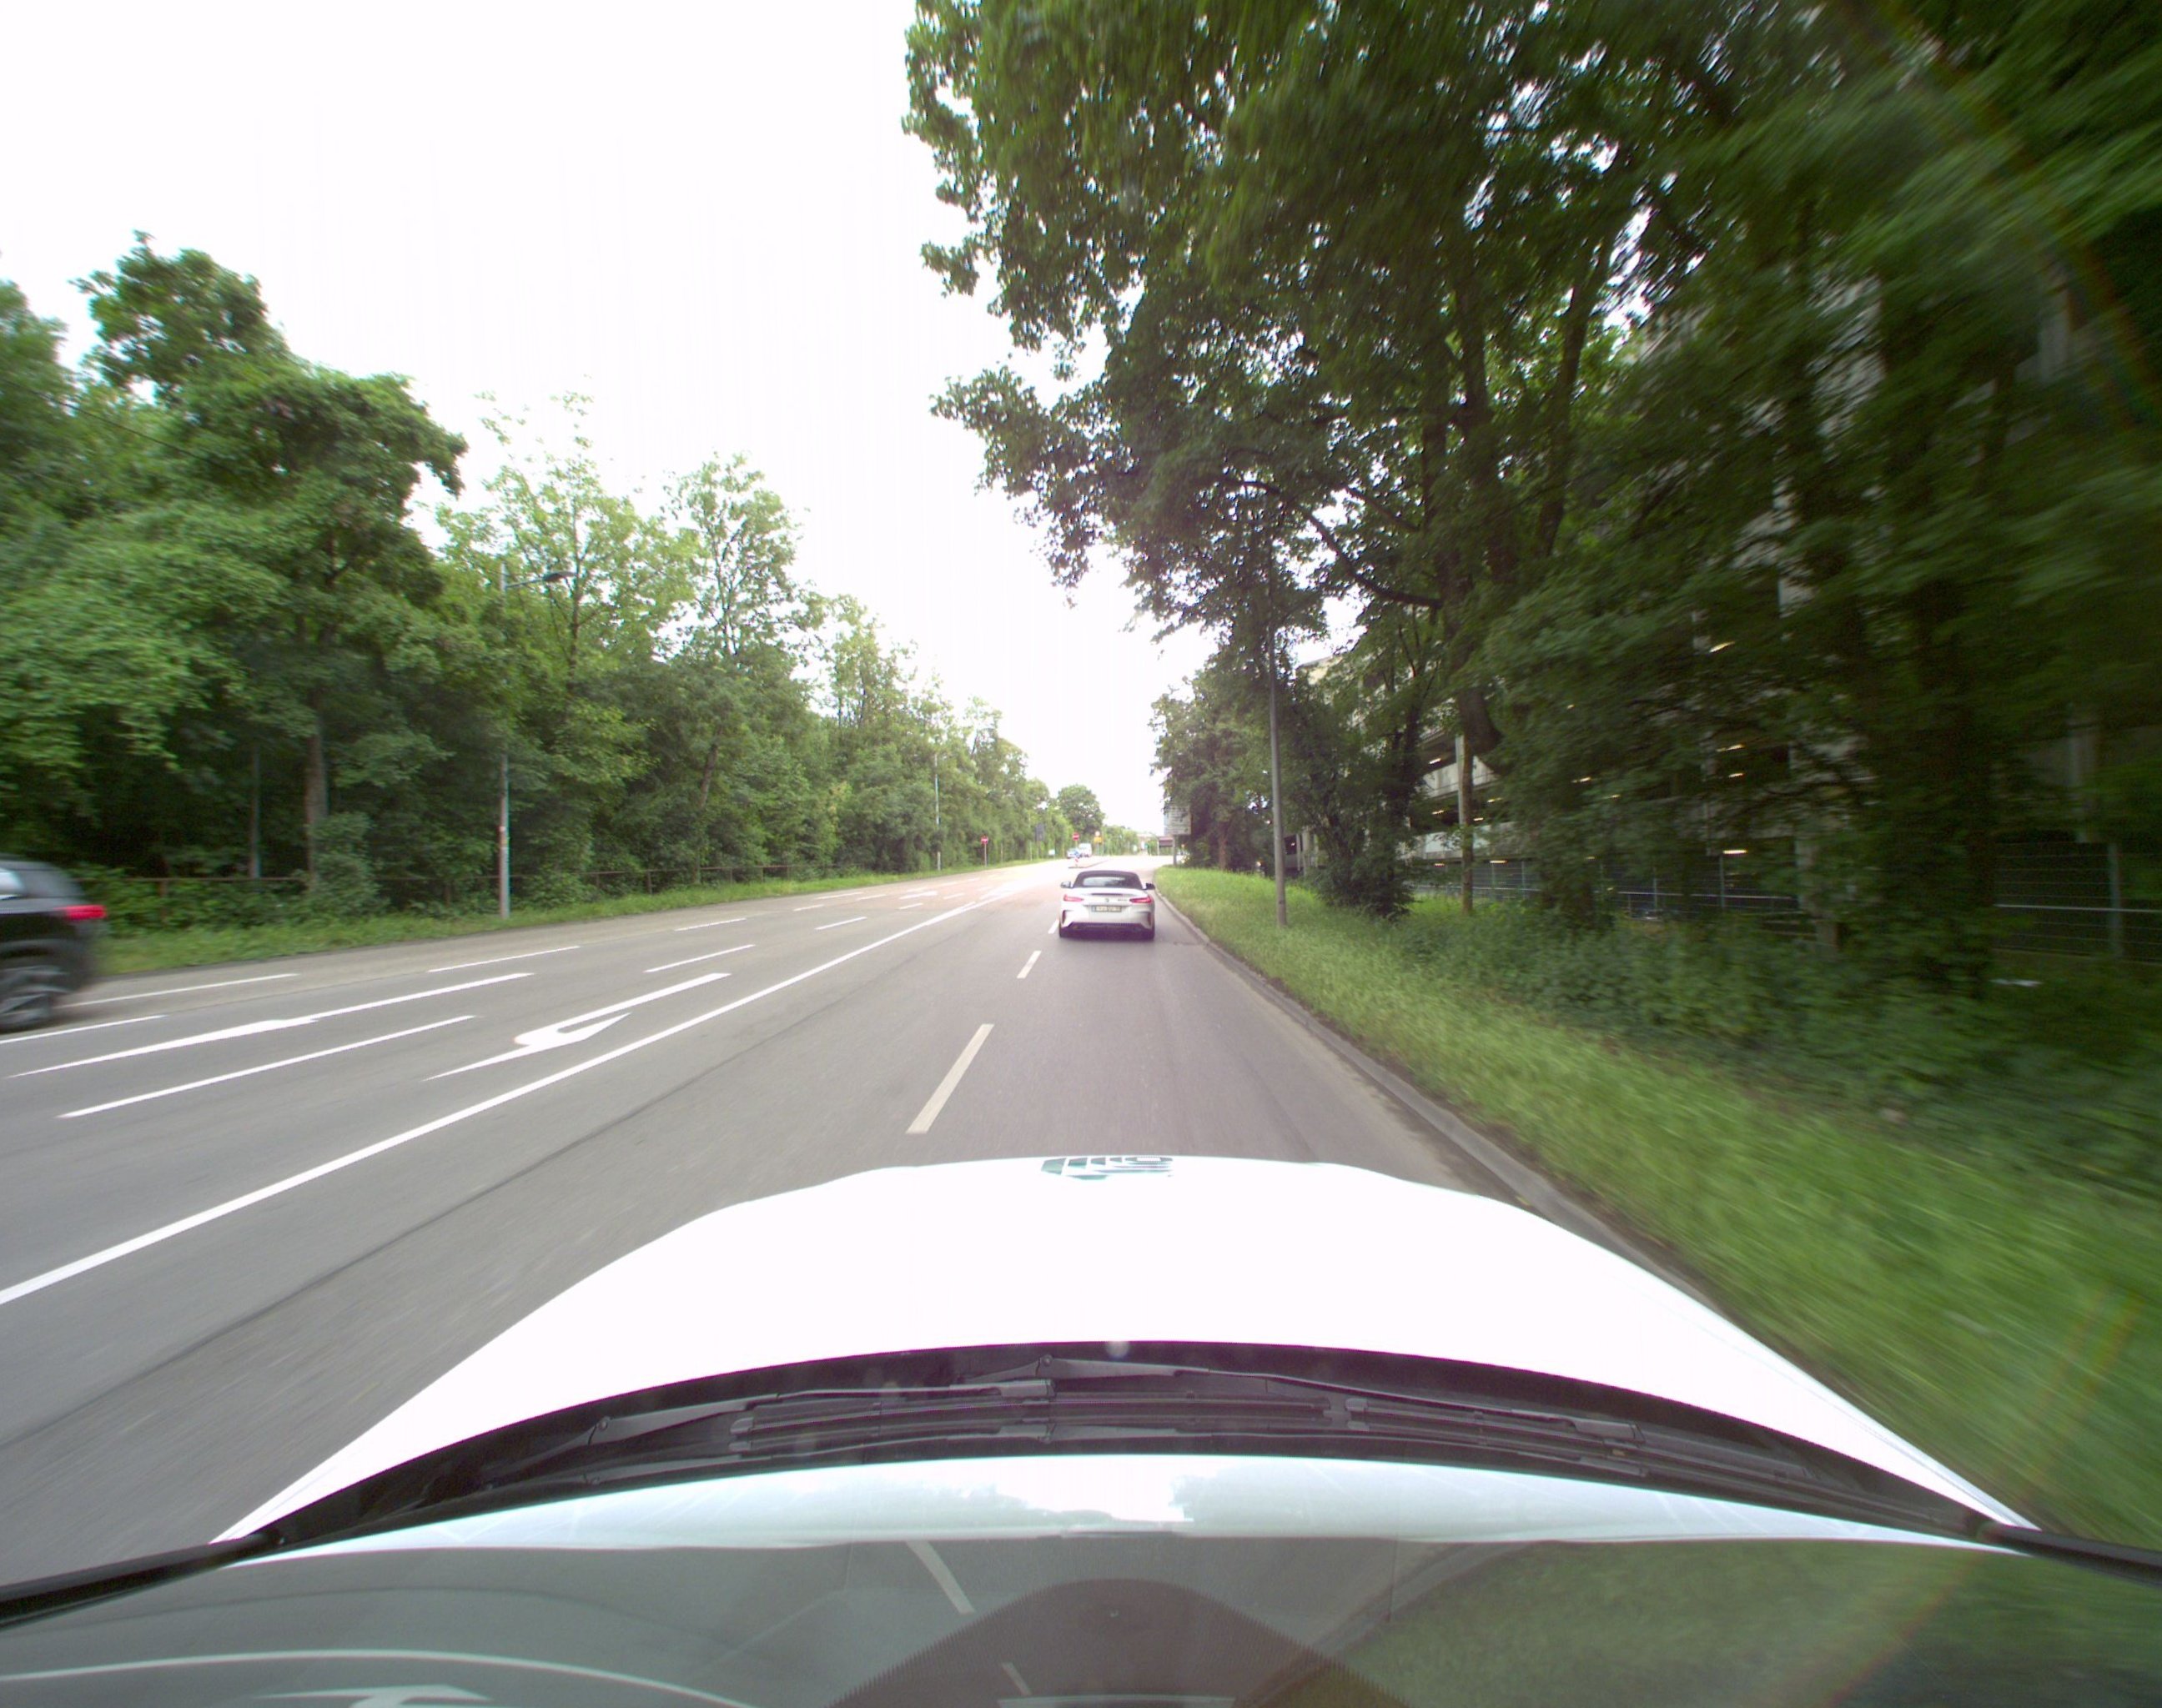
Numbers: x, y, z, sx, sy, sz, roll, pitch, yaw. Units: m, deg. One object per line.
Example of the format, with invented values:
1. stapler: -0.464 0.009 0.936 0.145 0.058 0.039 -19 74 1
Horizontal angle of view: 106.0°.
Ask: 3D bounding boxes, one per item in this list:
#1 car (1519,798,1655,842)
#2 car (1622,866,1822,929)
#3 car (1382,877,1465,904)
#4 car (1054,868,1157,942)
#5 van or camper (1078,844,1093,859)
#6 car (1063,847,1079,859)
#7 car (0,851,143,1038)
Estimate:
1. car: 18.523 -1.229 29.954 3.811 1.343 1.836 -2 -1 7
2. car: 17.603 1.169 22.517 3.971 1.533 1.864 -2 -1 2
3. car: 19.801 2.104 47.190 3.989 1.436 1.950 -2 -2 2
4. car: 0.568 0.981 16.935 1.867 1.309 3.876 -1 -1 3
5. van or camper: 0.893 -0.400 152.494 2.272 2.555 6.867 3 0 4
6. car: -1.622 -0.126 131.955 1.801 1.830 4.397 -1 1 11
7. car: -10.550 0.786 6.176 1.814 1.653 4.225 0 -1 3
